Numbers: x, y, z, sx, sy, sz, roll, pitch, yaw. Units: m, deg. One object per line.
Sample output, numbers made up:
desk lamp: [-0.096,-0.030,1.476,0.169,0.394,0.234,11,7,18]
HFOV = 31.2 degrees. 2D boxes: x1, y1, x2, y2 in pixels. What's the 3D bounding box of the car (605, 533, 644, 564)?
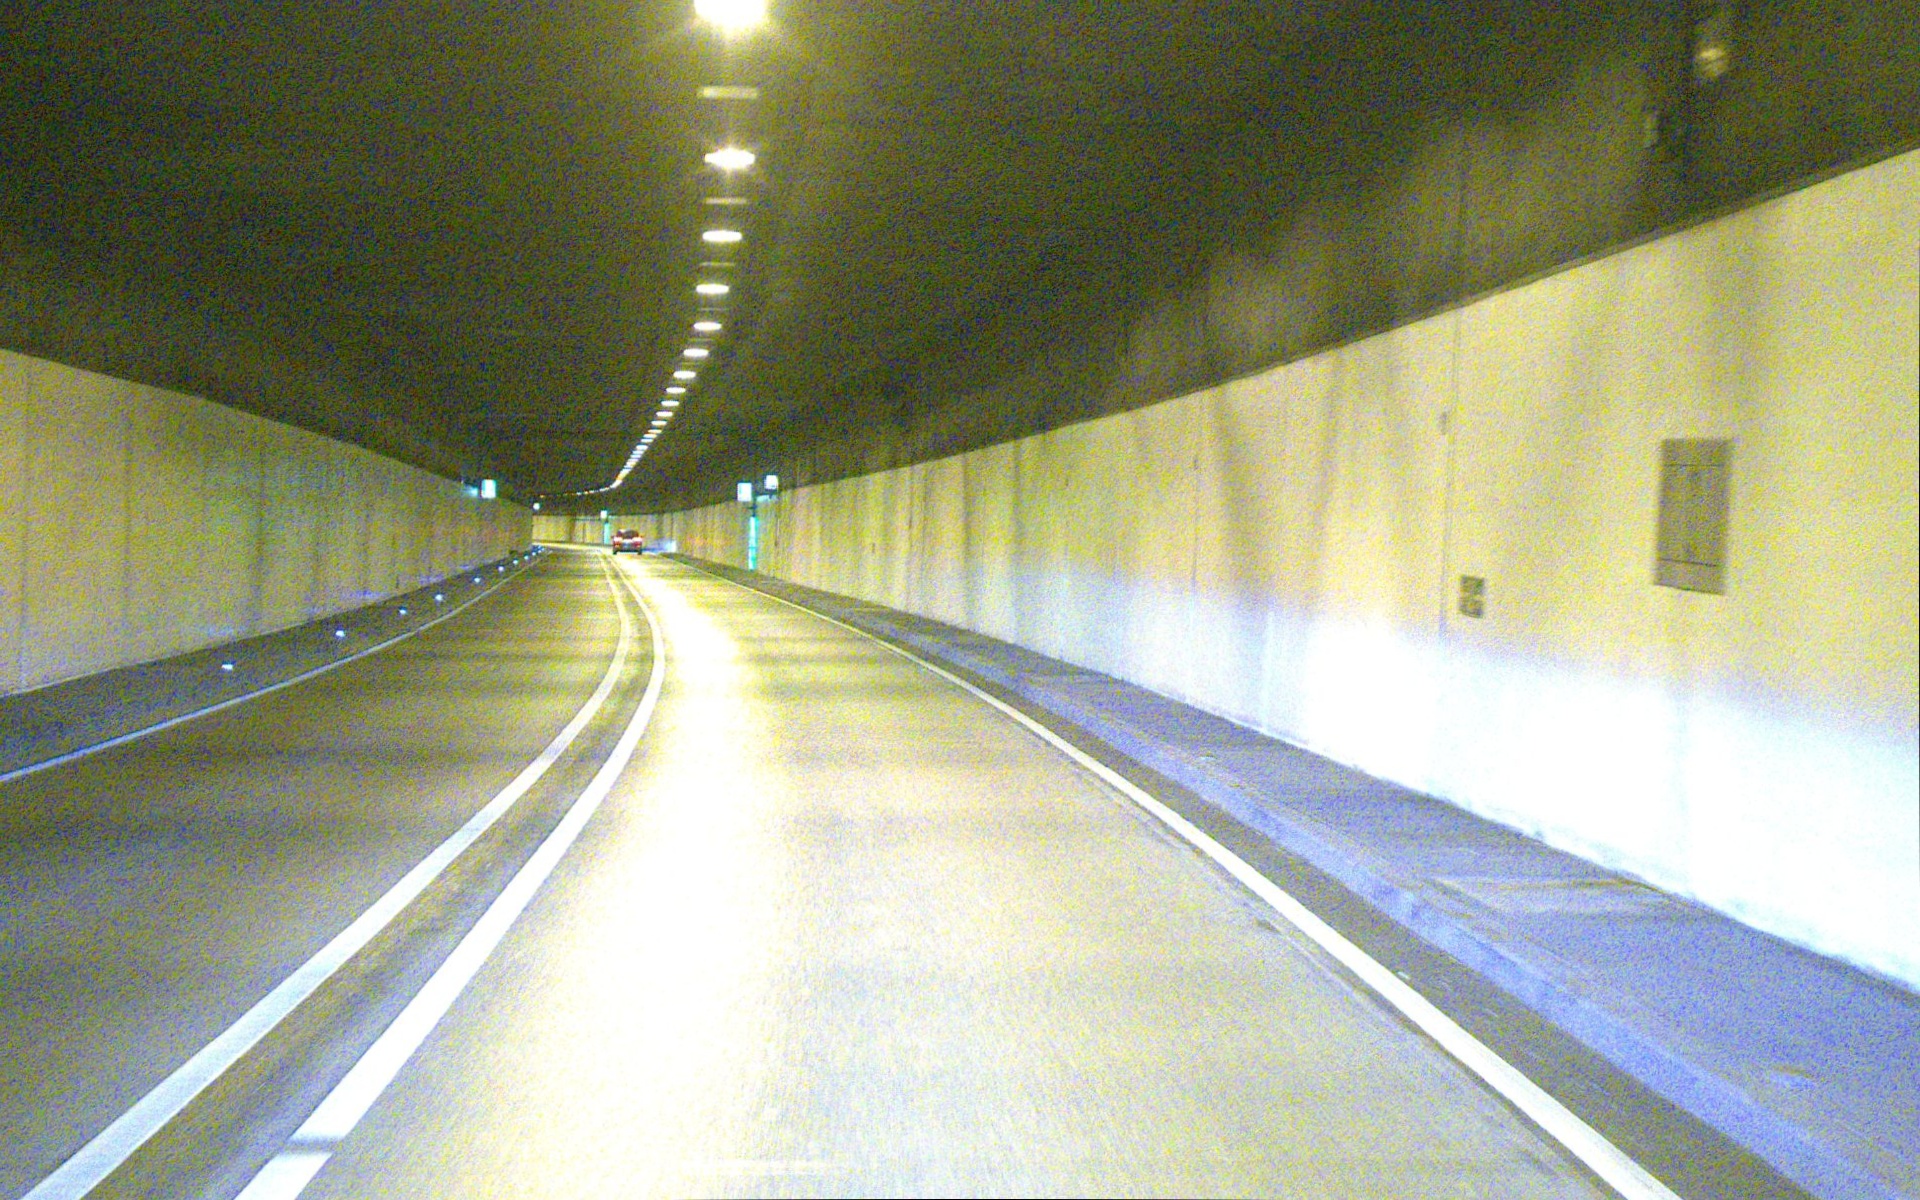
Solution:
car: [-21.259,-3.264,217.580,1.966,1.932,4.614,1,0,-12]
